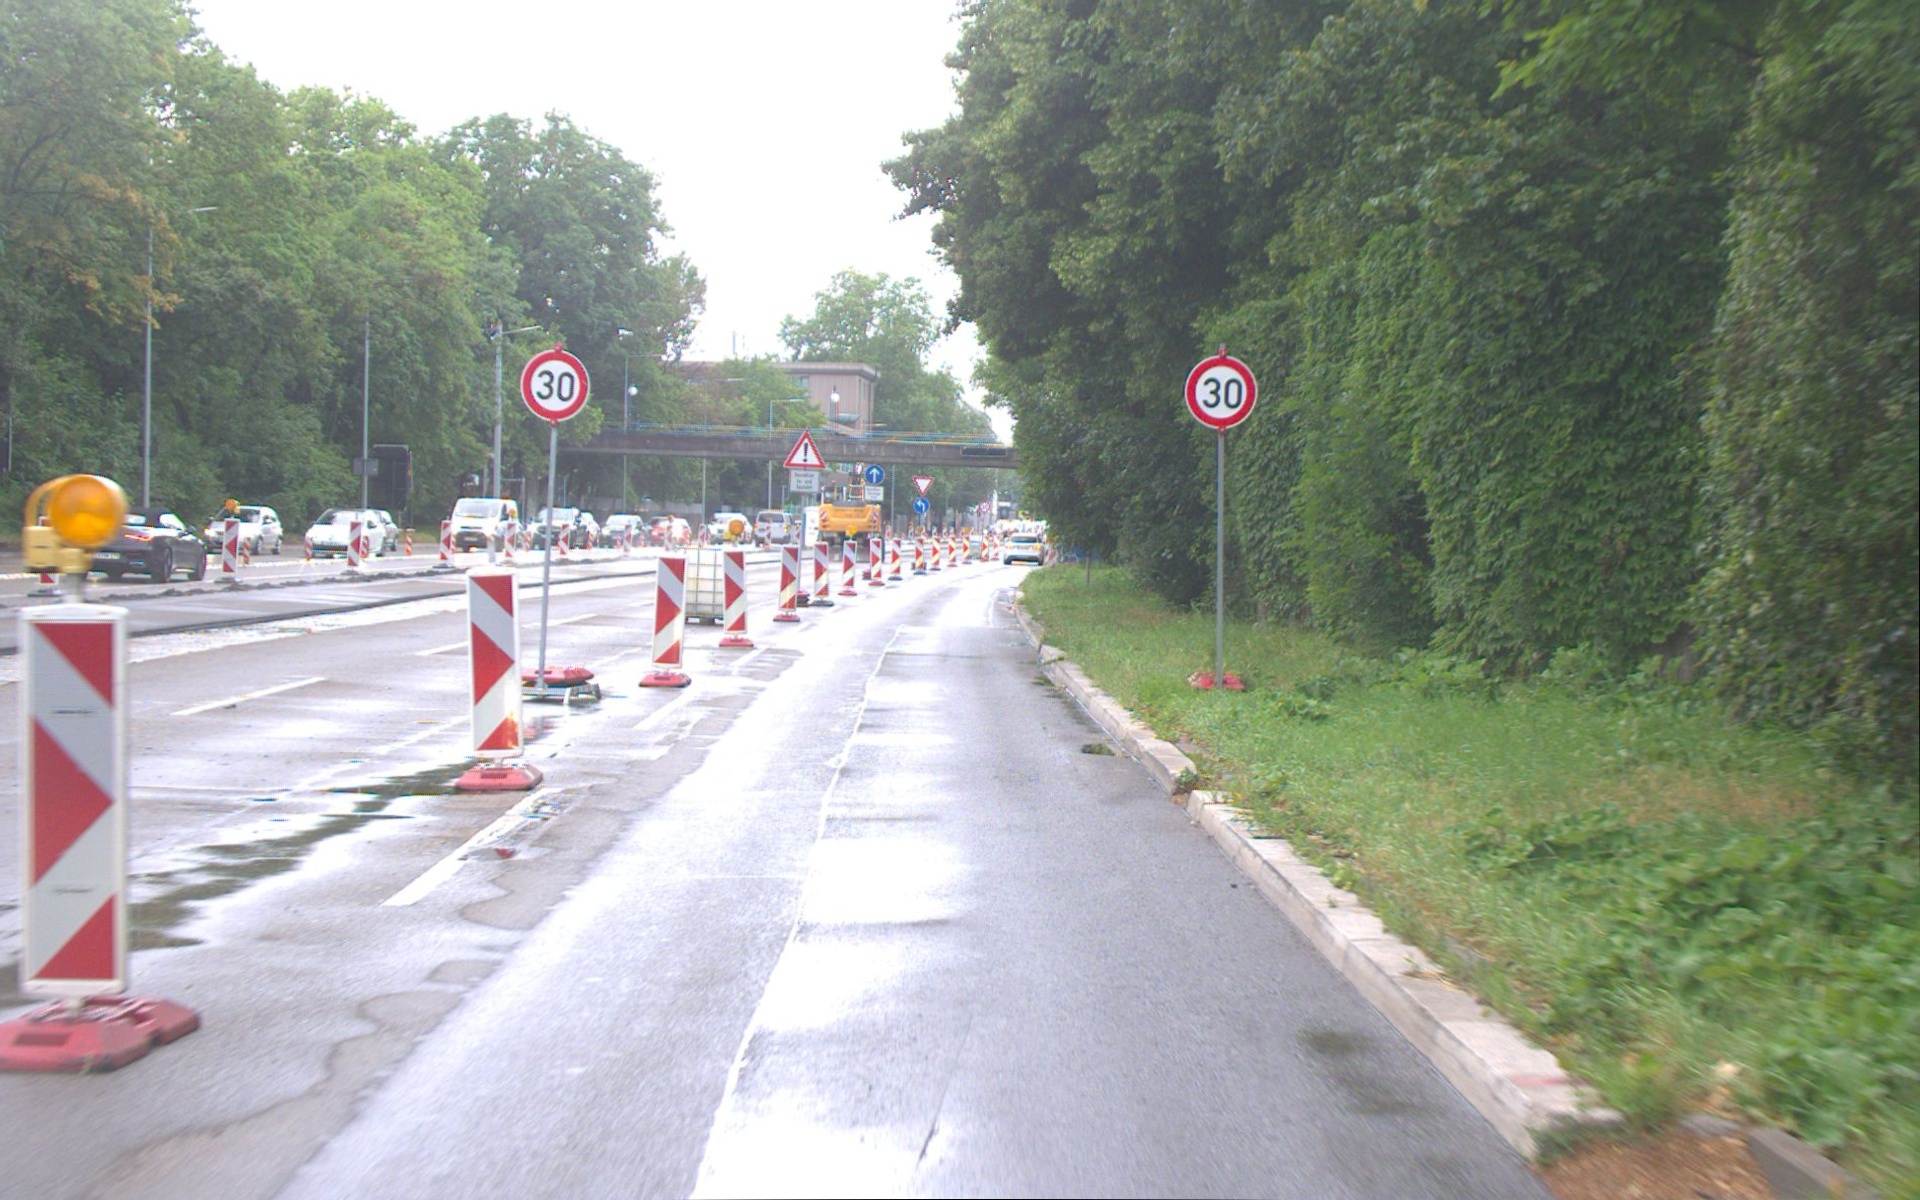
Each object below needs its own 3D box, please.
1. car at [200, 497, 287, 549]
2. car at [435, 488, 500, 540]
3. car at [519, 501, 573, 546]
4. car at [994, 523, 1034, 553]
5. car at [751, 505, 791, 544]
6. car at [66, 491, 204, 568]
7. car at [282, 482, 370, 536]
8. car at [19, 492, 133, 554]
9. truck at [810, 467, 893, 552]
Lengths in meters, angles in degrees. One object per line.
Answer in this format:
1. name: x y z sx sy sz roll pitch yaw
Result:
1. car: -21.093 -2.270 101.307 1.670 1.480 4.050 1 1 0
2. car: -17.594 -3.069 122.914 1.670 1.802 4.320 1 1 0
3. car: -16.953 -3.152 140.936 1.670 1.802 4.320 1 1 0
4. car: 2.438 -2.825 156.246 1.697 1.331 3.491 -1 1 0
5. car: -9.450 -3.803 172.064 1.670 1.802 4.321 1 3 0
6. car: -15.665 -1.353 65.447 1.607 1.399 4.041 1 1 0
7. car: -18.168 -2.616 98.685 1.670 1.480 4.320 1 1 0
8. car: -21.927 -1.922 85.399 1.670 1.480 4.320 1 1 0
9. truck: -4.653 -3.937 149.757 3.259 3.485 13.871 1 1 -1
